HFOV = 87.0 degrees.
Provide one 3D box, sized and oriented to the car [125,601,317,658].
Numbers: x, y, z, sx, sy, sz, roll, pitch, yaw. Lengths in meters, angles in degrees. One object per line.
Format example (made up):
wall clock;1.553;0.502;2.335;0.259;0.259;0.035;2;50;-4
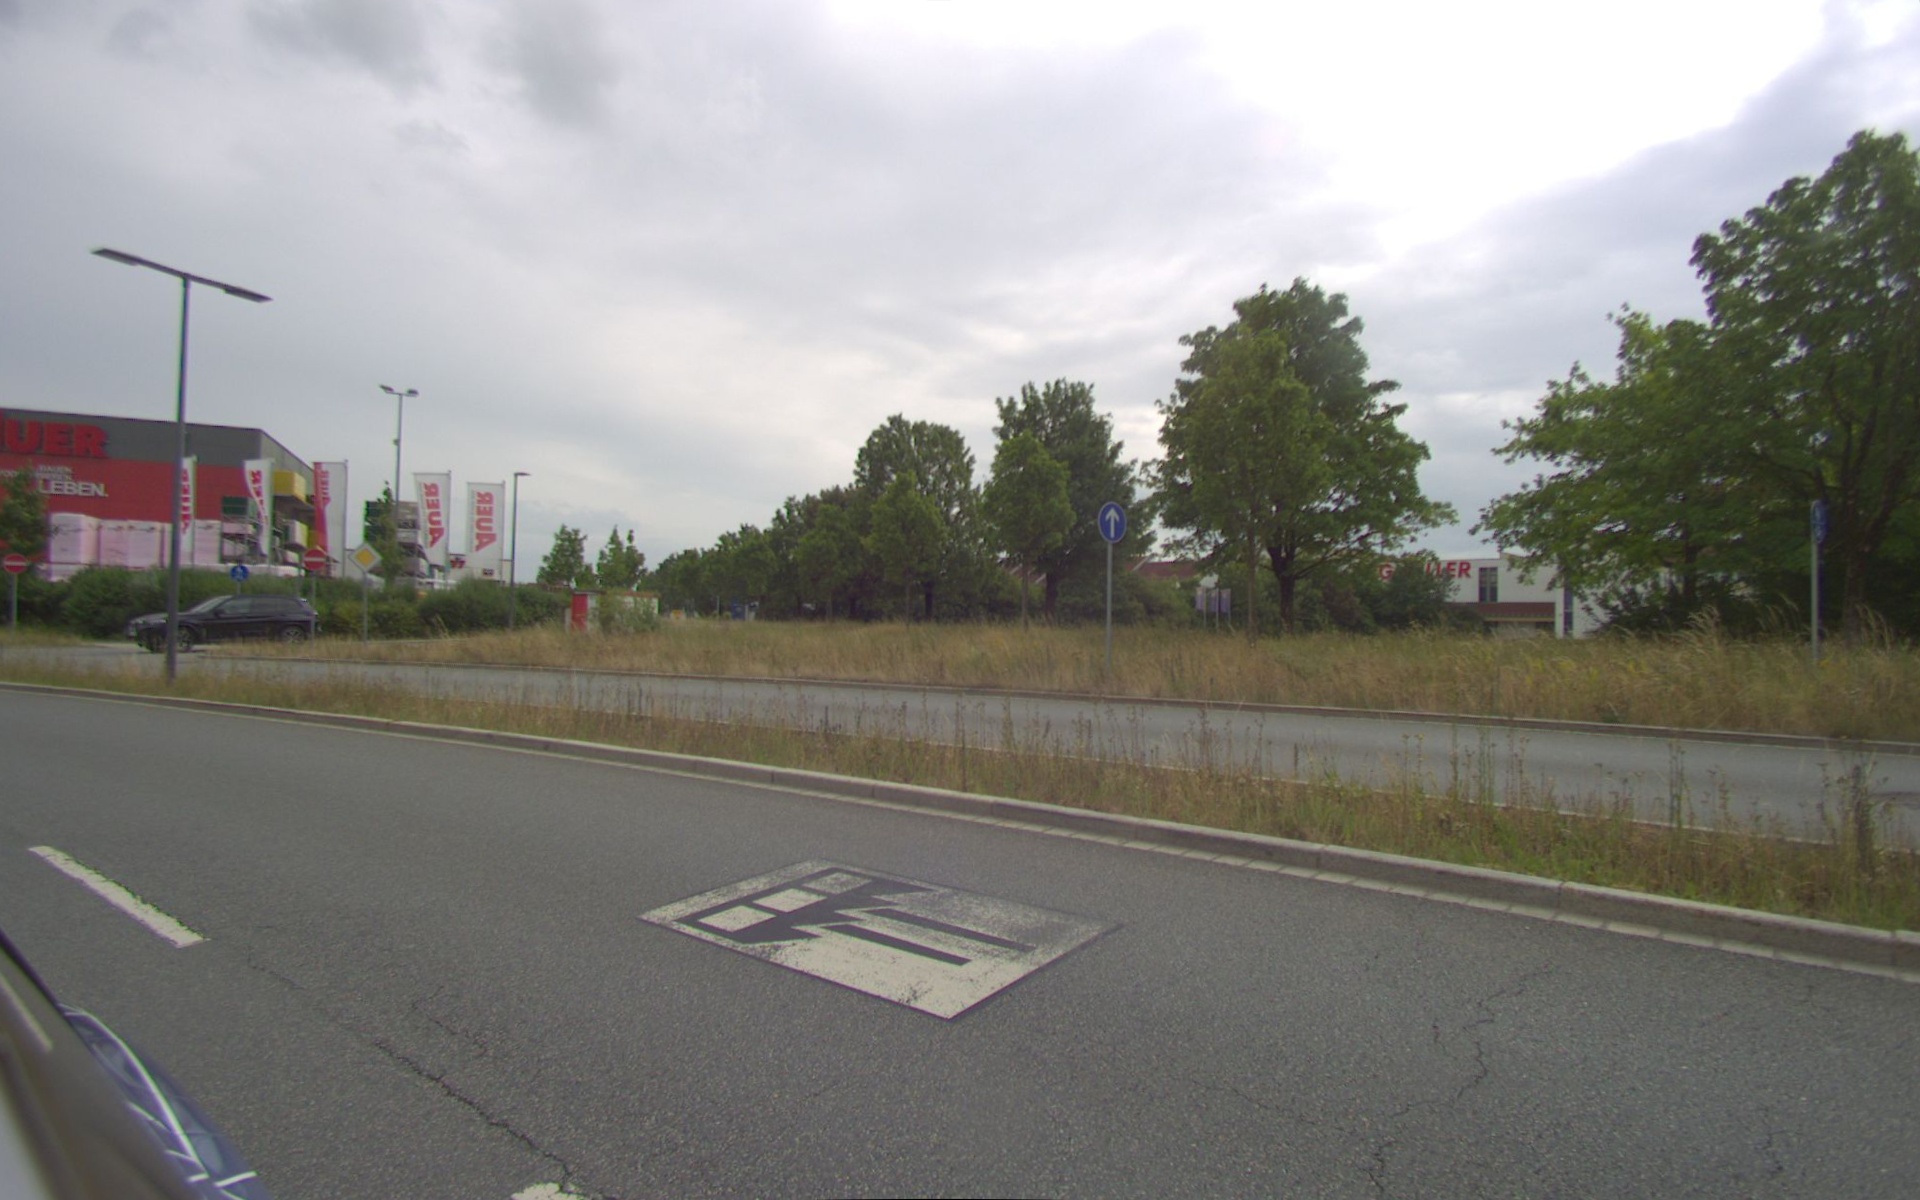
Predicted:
car;-21.757;0.835;29.944;1.869;1.561;4.207;0;-1;34
